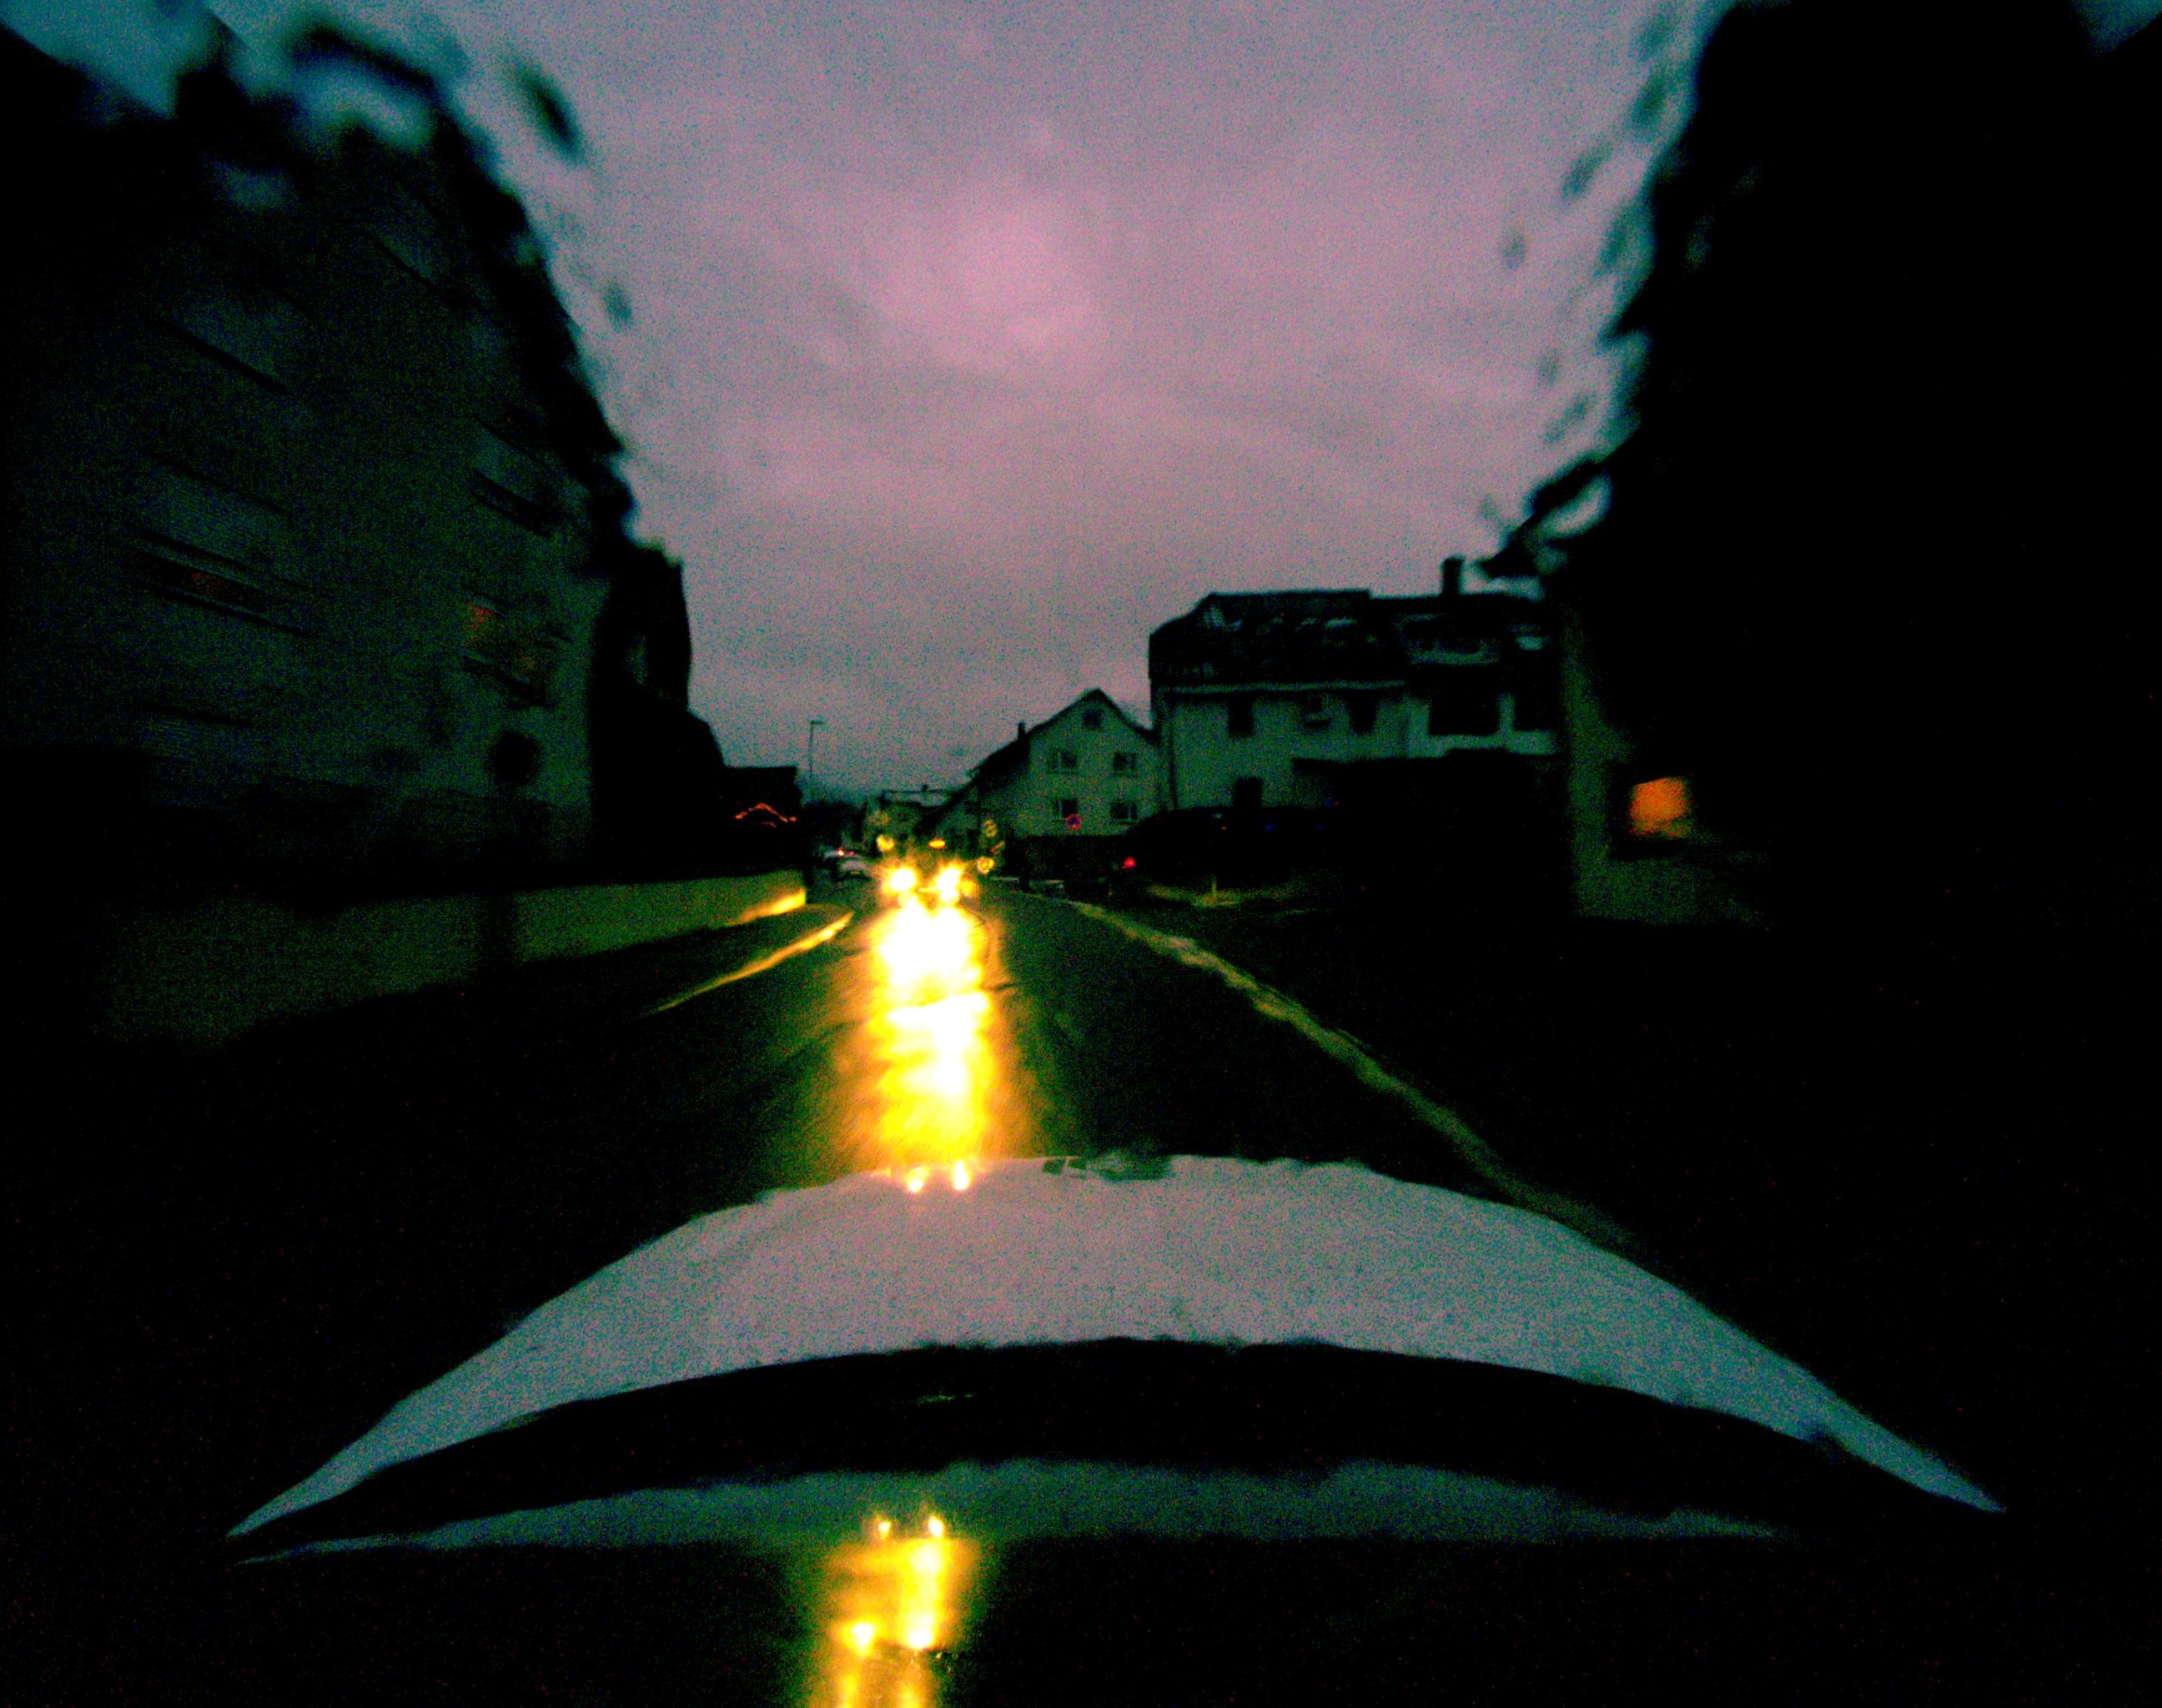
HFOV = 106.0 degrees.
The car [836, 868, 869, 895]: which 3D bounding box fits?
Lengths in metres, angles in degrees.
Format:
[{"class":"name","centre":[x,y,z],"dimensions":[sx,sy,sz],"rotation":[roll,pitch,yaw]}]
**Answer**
[{"class":"car","centre":[-13.382,1.596,47.547],"dimensions":[1.623,1.438,3.633],"rotation":[-1,0,-19]}]

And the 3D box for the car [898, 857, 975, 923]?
[{"class":"car","centre":[-4.836,1.132,27.997],"dimensions":[2.107,2.027,4.974],"rotation":[-1,0,-5]}]

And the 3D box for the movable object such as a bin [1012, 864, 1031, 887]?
[{"class":"movable object such as a bin","centre":[-2.422,0.879,33.048],"dimensions":[0.638,0.917,0.682],"rotation":[0,-1,-14]}]

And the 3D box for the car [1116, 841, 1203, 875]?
[{"class":"car","centre":[3.986,0.194,41.553],"dimensions":[3.992,1.618,1.991],"rotation":[1,0,-14]}]

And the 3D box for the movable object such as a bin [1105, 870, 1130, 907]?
[{"class":"movable object such as a bin","centre":[0.950,0.894,21.203],"dimensions":[0.537,0.938,0.687],"rotation":[0,0,-8]}]

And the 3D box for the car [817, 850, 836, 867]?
[{"class":"car","centre":[-25.117,0.427,80.392],"dimensions":[1.689,1.584,4.149],"rotation":[-1,0,-19]}]
